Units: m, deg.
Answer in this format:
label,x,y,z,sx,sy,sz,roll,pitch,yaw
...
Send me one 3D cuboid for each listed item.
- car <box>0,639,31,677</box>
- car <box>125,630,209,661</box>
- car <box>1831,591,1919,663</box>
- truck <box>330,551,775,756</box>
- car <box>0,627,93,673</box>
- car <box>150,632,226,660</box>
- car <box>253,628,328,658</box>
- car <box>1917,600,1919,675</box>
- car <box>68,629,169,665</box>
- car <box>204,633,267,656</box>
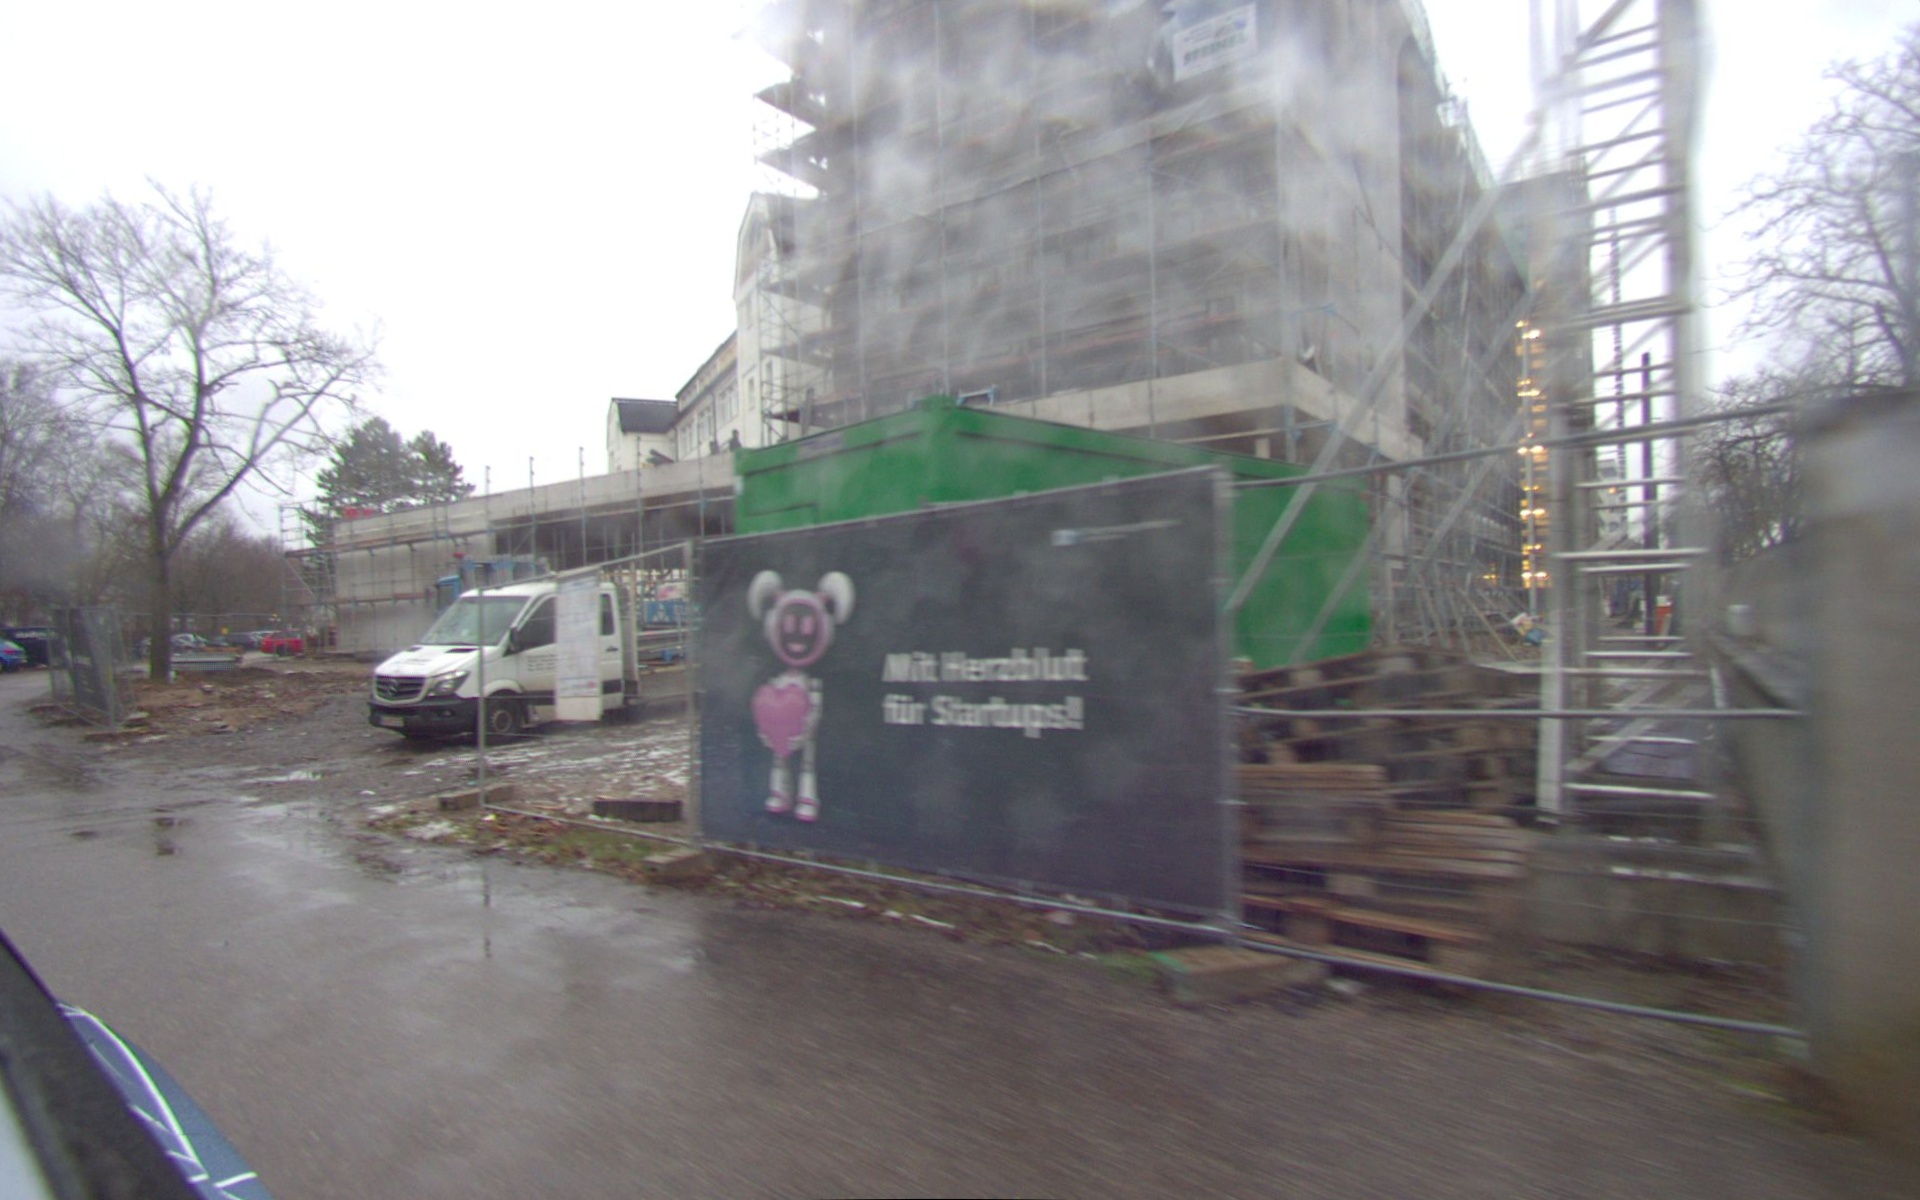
label,x,y,z,sx,sy,sz,roll,pitch,yaw
car,-40.025,2.369,40.273,4.109,1.489,2.006,0,-4,-28
car,-50.629,2.889,64.688,3.930,1.810,1.808,0,-1,-24
car,22.299,0.622,24.334,1.751,1.596,3.690,-2,-2,37
truck,-6.077,0.651,16.514,2.122,2.607,7.015,-2,0,27
car,-42.144,2.249,45.881,3.930,2.007,2.006,0,-1,-24
car,-54.484,3.215,71.483,3.930,1.810,1.808,0,-1,-24
car,-36.071,2.299,54.610,3.252,1.535,1.709,0,-1,-29
car,17.541,0.666,16.923,1.751,1.398,3.690,-2,-2,37
car,-46.248,2.564,55.710,3.930,1.810,1.808,0,-1,-24
car,-58.642,3.585,81.989,3.930,1.810,1.808,0,-1,-24
